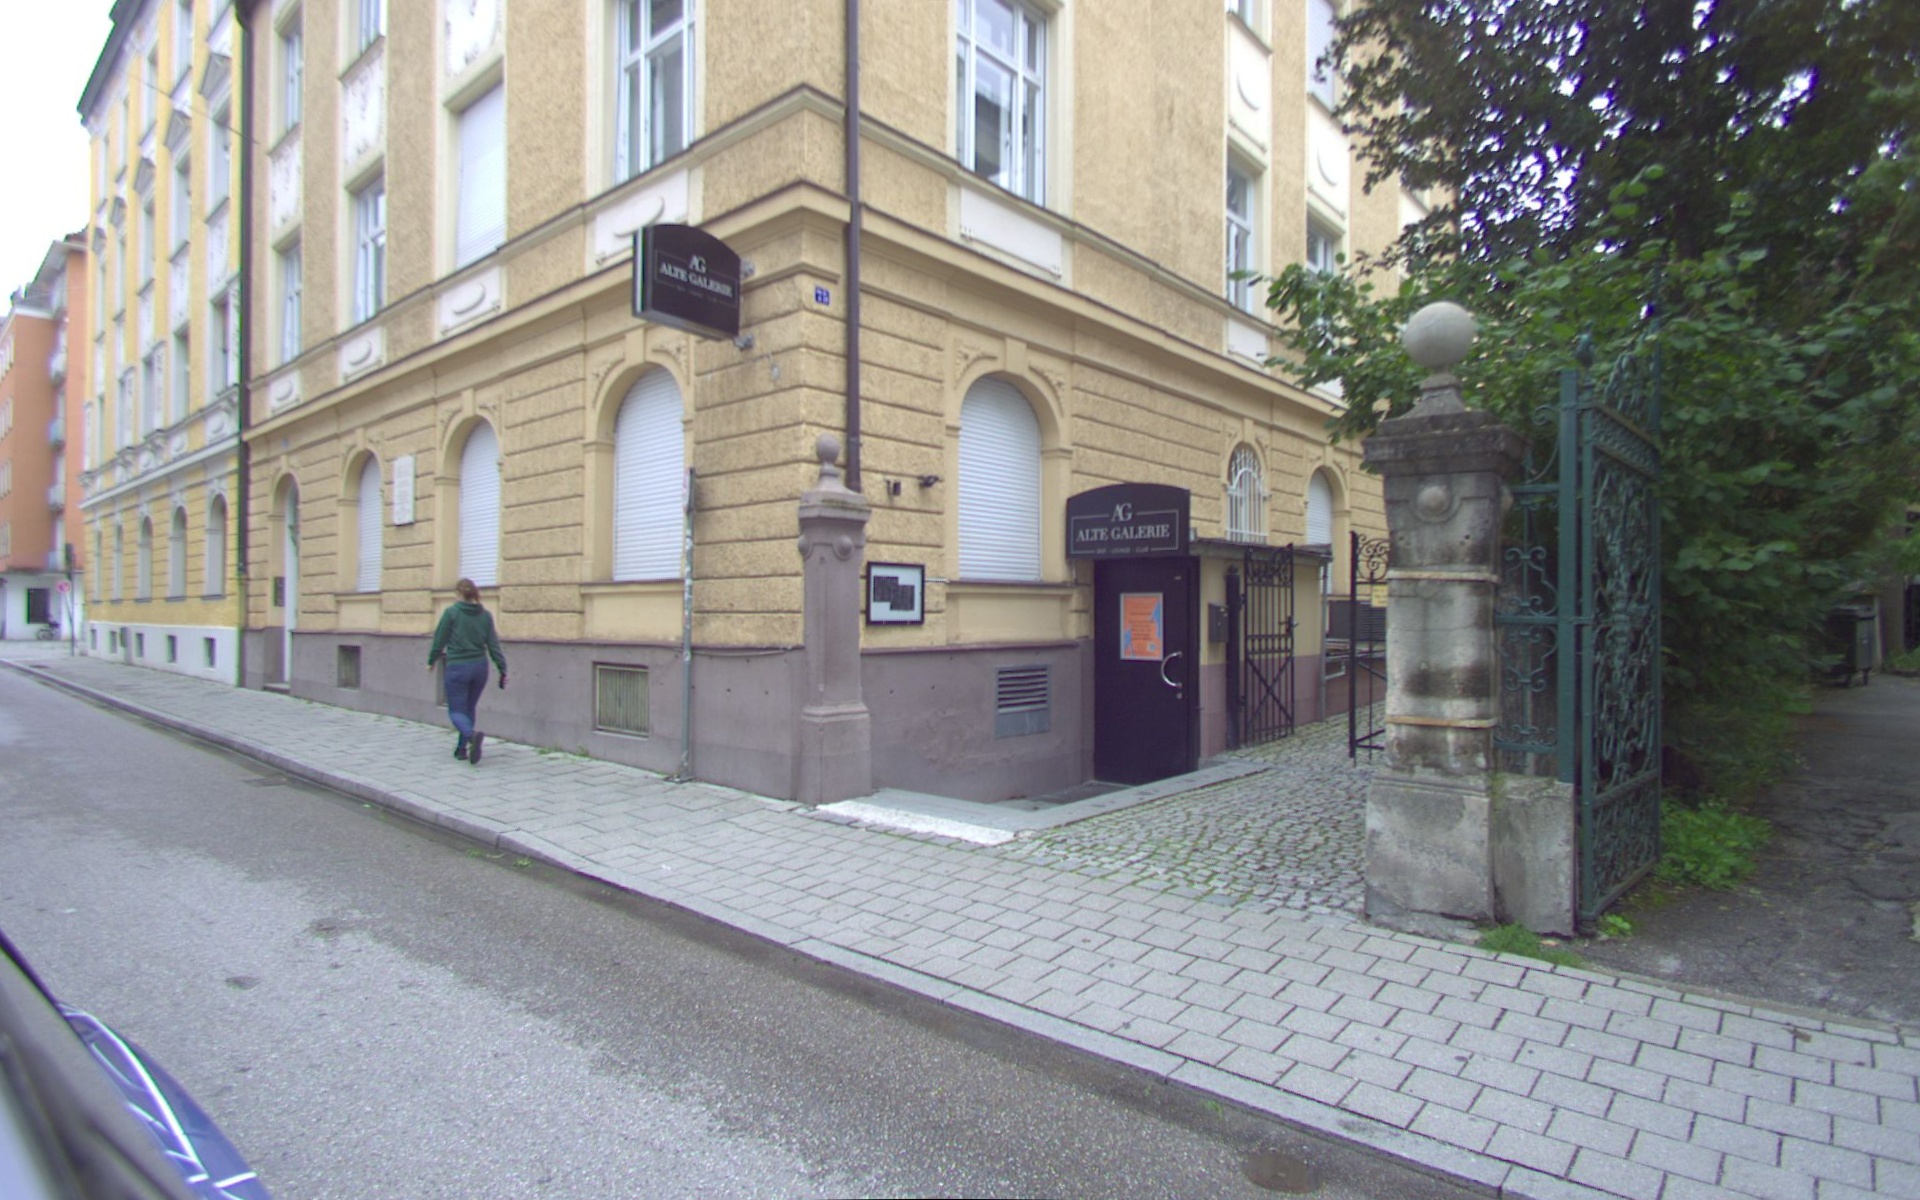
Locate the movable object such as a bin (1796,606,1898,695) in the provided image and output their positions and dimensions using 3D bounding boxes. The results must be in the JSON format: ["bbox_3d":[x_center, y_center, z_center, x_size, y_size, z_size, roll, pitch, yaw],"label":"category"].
[{"bbox_3d":[14.738,0.813,16.816,1.208,1.414,1.109,1,-2,-41],"label":"movable object such as a bin"}]

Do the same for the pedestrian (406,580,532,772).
[{"bbox_3d":[-4.598,0.667,9.469,0.929,1.678,0.705,-1,1,41],"label":"pedestrian"}]

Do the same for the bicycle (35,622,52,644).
[{"bbox_3d":[-39.038,1.404,43.104,1.539,0.944,0.386,-1,-2,42],"label":"bicycle"}]
